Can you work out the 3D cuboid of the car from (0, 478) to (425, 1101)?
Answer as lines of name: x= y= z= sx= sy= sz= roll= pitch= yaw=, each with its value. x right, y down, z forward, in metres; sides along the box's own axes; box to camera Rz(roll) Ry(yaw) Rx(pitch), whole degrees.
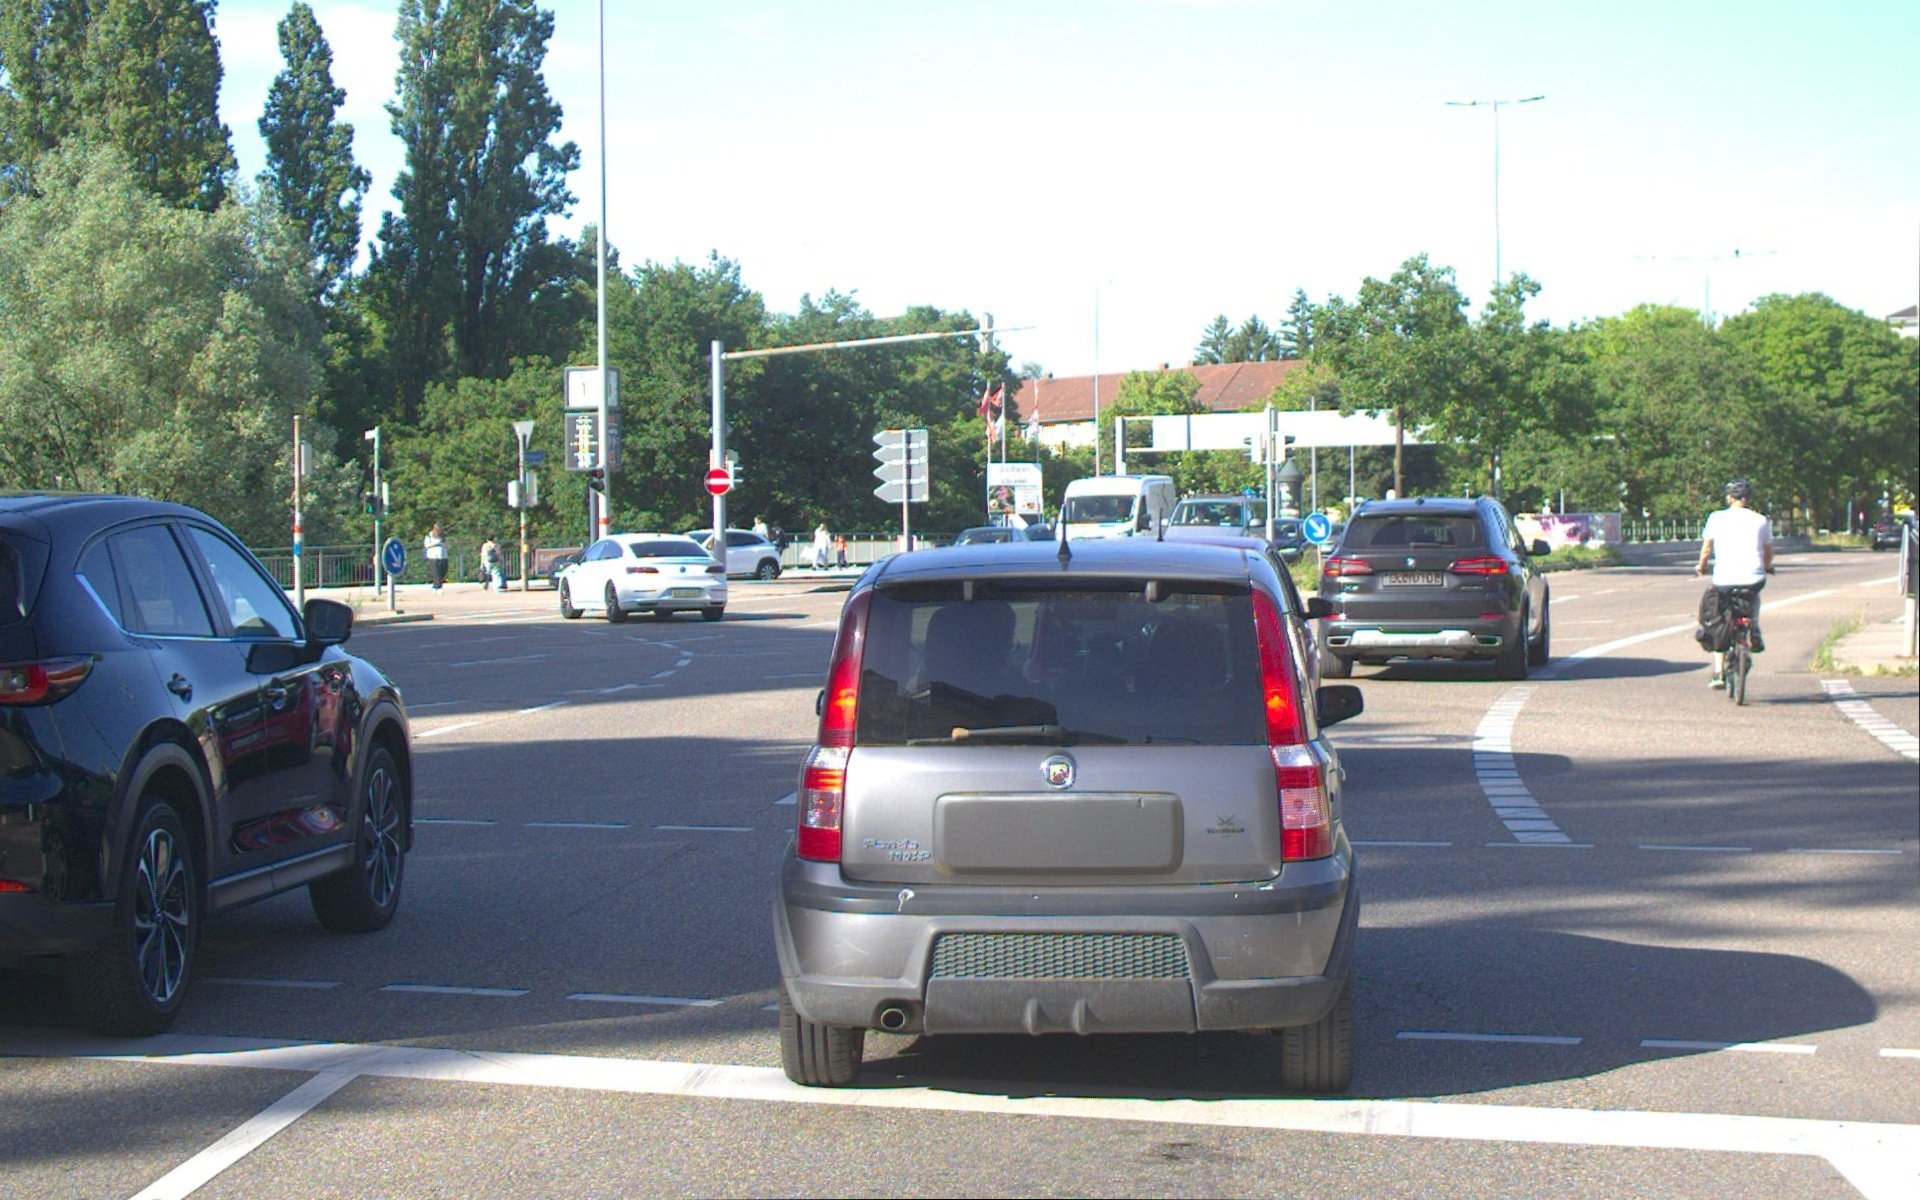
car: x=-3.199 y=0.481 z=11.547 sx=1.874 sy=1.703 sz=4.196 roll=0 pitch=1 yaw=4

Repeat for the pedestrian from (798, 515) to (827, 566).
pedestrian: x=-4.819 y=-1.937 z=112.584 sx=0.721 sy=1.635 sz=0.672 roll=1 pitch=-1 yaw=19

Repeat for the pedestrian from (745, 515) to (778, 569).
pedestrian: x=-6.218 y=-1.803 z=107.493 sx=0.790 sy=1.658 sz=0.629 roll=1 pitch=-1 yaw=27

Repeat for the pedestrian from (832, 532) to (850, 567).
pedestrian: x=-3.893 y=-1.644 z=112.432 sx=0.423 sy=1.132 sz=0.397 roll=1 pitch=-1 yaw=19

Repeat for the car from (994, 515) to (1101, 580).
car: x=2.277 y=-1.373 z=88.360 sx=1.812 sy=1.536 sz=4.614 roll=-2 pitch=1 yaw=13

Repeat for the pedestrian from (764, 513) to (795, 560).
pedestrian: x=-5.915 y=-2.086 z=112.632 sx=0.671 sy=1.497 sz=0.778 roll=1 pitch=-1 yaw=34

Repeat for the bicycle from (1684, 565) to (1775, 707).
bicycle: x=6.326 y=0.275 z=28.304 sx=0.691 sy=1.098 sz=1.825 roll=1 pitch=1 yaw=12

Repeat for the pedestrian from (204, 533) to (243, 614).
pedestrian: x=-13.511 y=-0.489 z=63.103 sx=0.679 sy=1.458 sz=0.703 roll=-1 pitch=1 yaw=-12

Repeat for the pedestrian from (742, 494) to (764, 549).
pedestrian: x=-6.461 y=-2.459 z=107.485 sx=0.499 sy=1.696 sz=0.500 roll=1 pitch=-1 yaw=18

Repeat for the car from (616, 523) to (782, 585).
car: x=-6.889 y=-1.239 z=91.073 sx=1.783 sy=1.530 sz=4.318 roll=2 pitch=3 yaw=43

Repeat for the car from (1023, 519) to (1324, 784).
car: x=1.389 y=0.242 z=21.130 sx=1.618 sy=1.458 sz=3.750 roll=1 pitch=1 yaw=7

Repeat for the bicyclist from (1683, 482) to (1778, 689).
bicyclist: x=6.322 y=-0.133 z=28.232 sx=0.724 sy=1.654 sz=1.112 roll=1 pitch=1 yaw=12

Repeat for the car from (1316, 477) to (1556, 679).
car: x=4.746 y=-0.258 z=33.836 sx=1.946 sy=1.833 sz=4.150 roll=1 pitch=2 yaw=13

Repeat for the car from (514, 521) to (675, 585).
car: x=-9.881 y=-1.264 z=93.184 sx=3.989 sy=1.620 sz=1.900 roll=1 pitch=-1 yaw=-44

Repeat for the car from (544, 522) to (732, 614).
car: x=-5.284 y=-0.543 z=55.879 sx=1.780 sy=1.410 sz=4.320 roll=-1 pitch=1 yaw=-23

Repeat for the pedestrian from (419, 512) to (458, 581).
pedestrian: x=-11.886 y=-1.209 z=78.340 sx=0.709 sy=1.542 sz=0.729 roll=-1 pitch=0 yaw=-21

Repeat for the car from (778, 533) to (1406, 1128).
car: x=0.464 y=0.561 z=10.874 sx=1.617 sy=1.510 sz=3.819 roll=1 pitch=1 yaw=4

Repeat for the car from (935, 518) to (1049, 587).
car: x=0.793 y=-1.145 z=81.200 sx=1.937 sy=1.502 sz=3.998 roll=-2 pitch=1 yaw=11

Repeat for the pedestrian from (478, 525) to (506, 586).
pedestrian: x=-11.936 y=-1.141 z=87.659 sx=0.556 sy=1.542 sz=0.576 roll=-2 pitch=0 yaw=-22

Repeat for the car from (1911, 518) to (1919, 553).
car: x=43.046 y=-2.850 z=150.991 sx=1.947 sy=1.523 sz=4.093 roll=0 pitch=1 yaw=22

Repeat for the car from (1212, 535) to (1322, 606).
car: x=7.396 y=-0.727 z=82.436 sx=1.938 sy=1.616 sz=4.503 roll=0 pitch=1 yaw=14

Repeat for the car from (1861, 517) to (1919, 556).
car: x=37.098 y=-2.540 z=136.815 sx=1.947 sy=1.523 sz=4.093 roll=0 pitch=1 yaw=22

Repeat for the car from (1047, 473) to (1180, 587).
car: x=3.668 y=-1.665 z=80.845 sx=1.938 sy=2.567 sz=6.085 roll=0 pitch=1 yaw=14

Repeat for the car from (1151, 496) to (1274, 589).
car: x=5.700 y=-1.306 z=77.113 sx=1.938 sy=2.001 sz=4.928 roll=0 pitch=1 yaw=14
